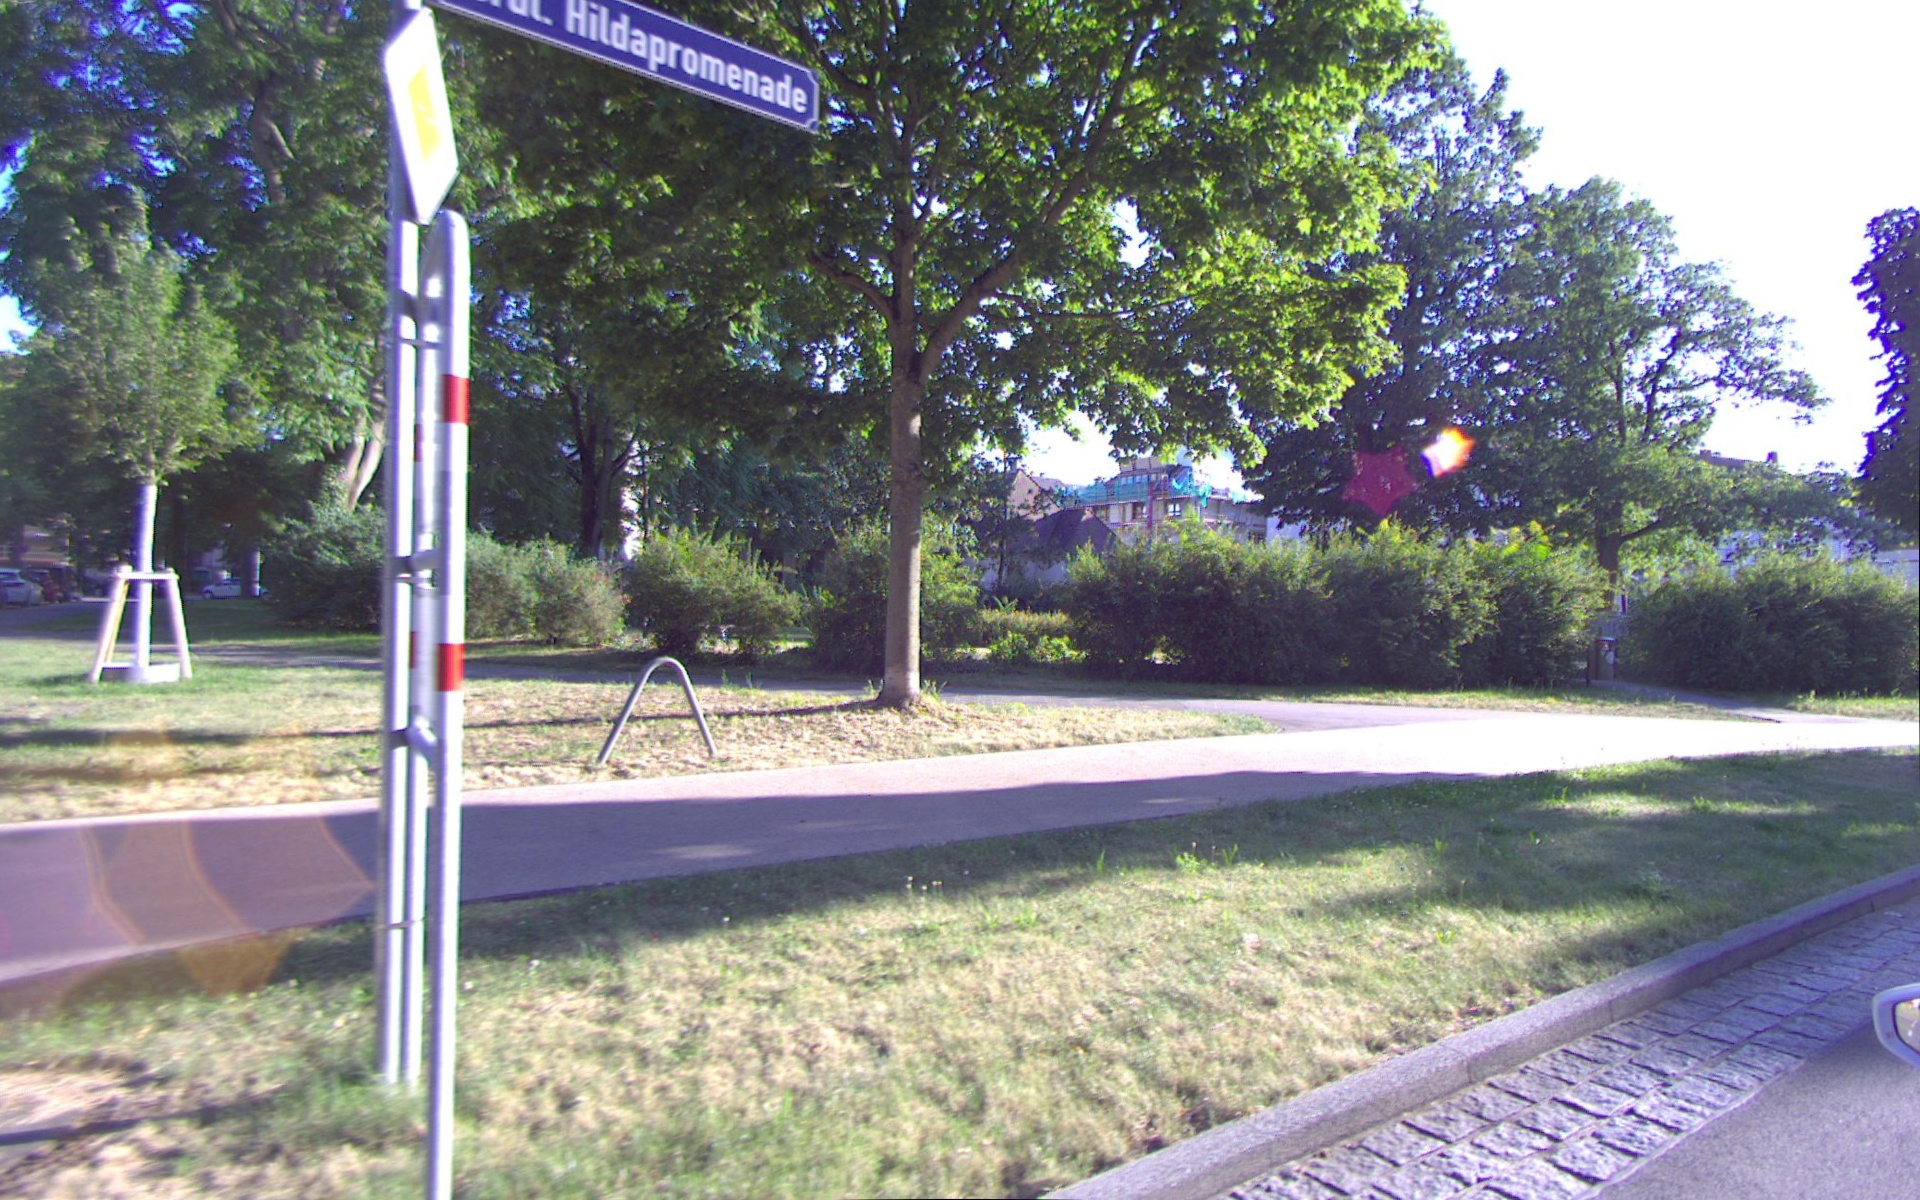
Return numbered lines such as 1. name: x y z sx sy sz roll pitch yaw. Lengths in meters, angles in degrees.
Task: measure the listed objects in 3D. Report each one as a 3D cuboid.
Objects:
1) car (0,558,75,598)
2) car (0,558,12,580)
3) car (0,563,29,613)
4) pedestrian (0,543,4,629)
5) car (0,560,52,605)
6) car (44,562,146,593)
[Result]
1. car: -38.118 -0.910 41.571 1.700 1.529 3.645 2 0 -33
2. car: -72.695 -2.374 73.903 3.953 1.595 1.813 2 0 -30
3. car: -31.103 -0.420 31.824 1.700 1.529 3.645 2 0 -33
4. pedestrian: -19.971 -0.292 20.366 0.709 1.760 0.740 2 1 -34
5. car: -34.379 -0.661 36.322 1.700 1.529 3.645 2 0 -33
6. car: -55.104 -1.411 64.044 4.424 1.706 2.286 2 -3 1
